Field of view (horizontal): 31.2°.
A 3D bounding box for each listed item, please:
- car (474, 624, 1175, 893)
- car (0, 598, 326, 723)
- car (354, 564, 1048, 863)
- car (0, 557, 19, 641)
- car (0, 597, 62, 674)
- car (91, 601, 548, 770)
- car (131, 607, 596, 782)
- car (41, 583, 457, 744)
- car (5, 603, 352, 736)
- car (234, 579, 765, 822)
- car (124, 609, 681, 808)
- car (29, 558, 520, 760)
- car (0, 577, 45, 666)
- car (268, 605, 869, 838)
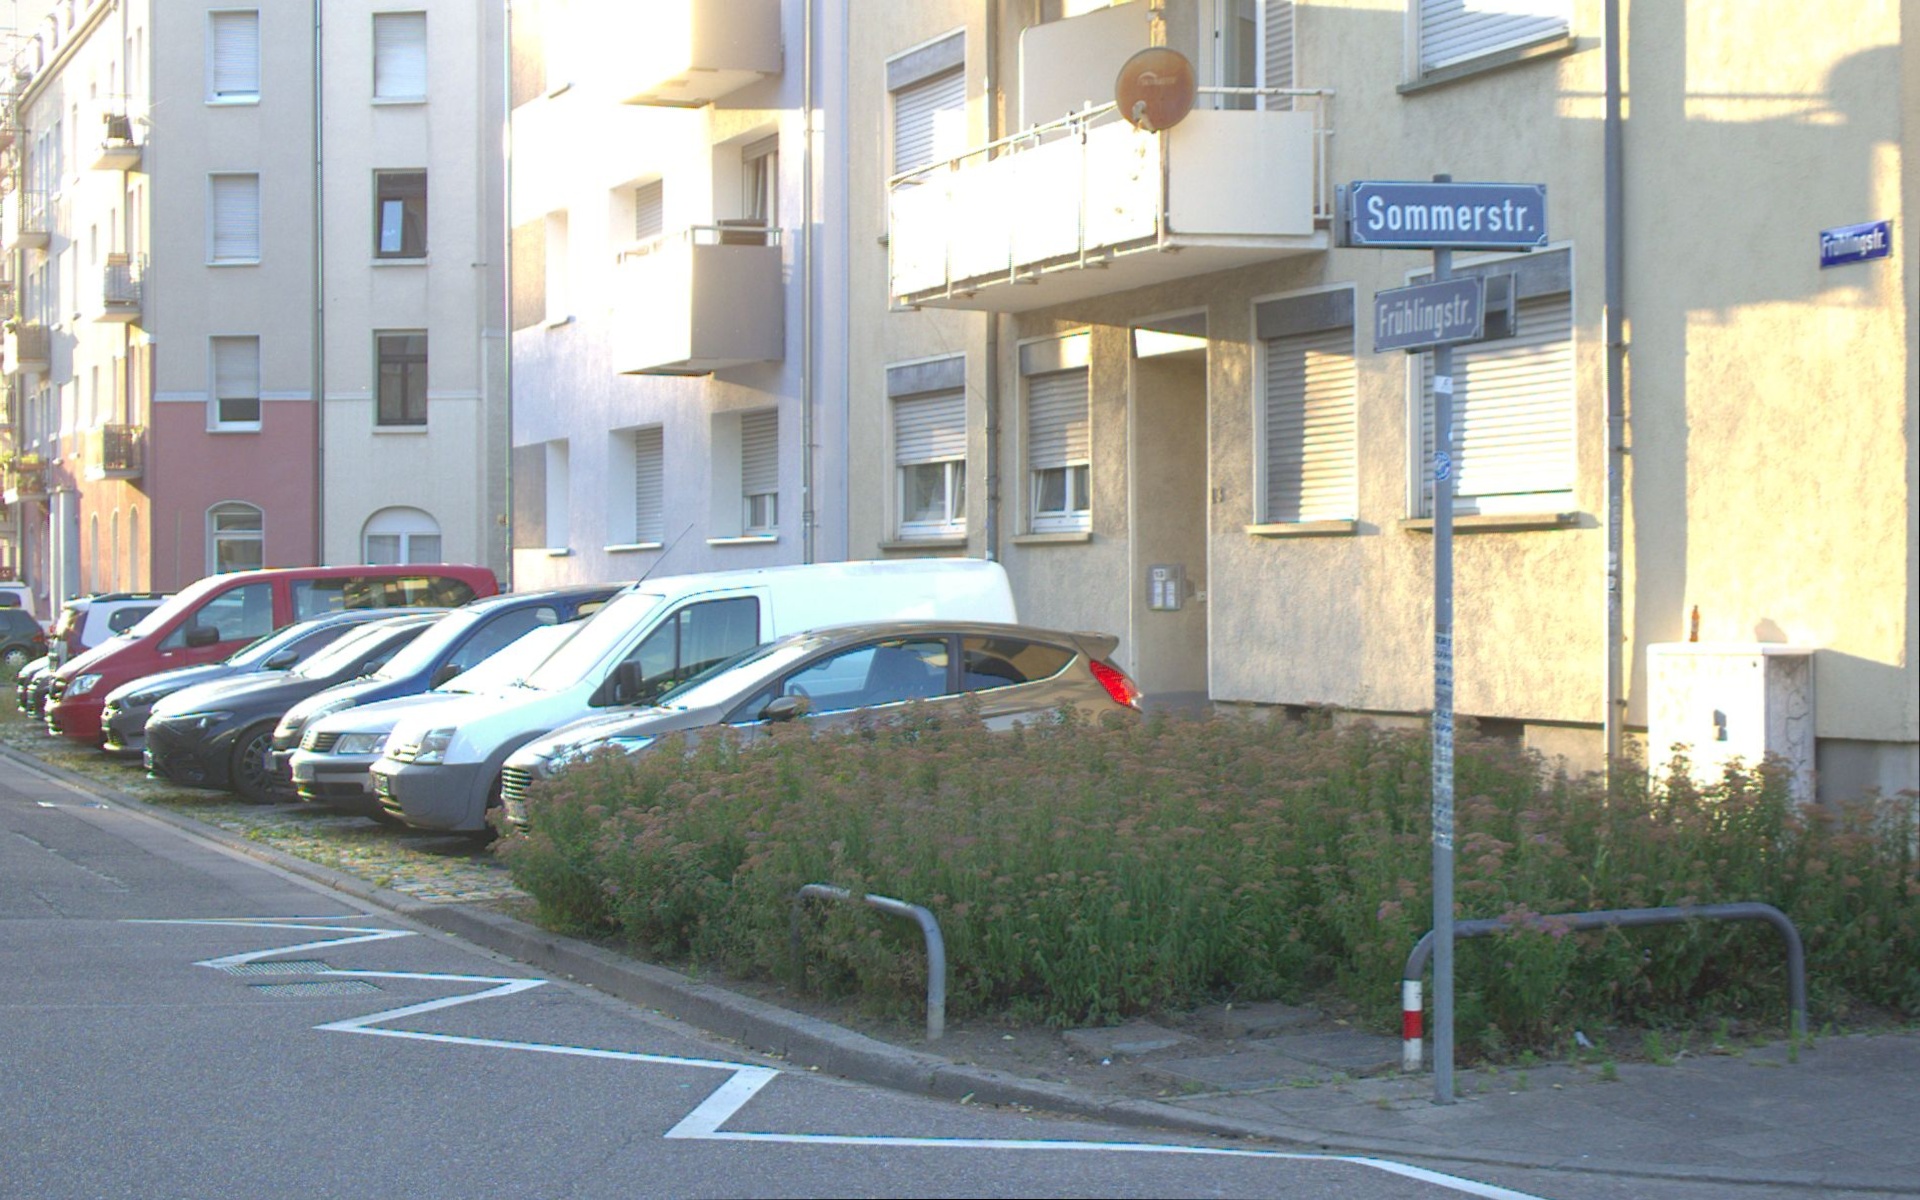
[{"bbox_3d":[-0.832,0.899,20.750,3.871,1.487,1.742,0,0,-21],"label":"car"},{"bbox_3d":[-10.139,0.751,43.681,3.811,1.423,1.635,-2,0,-22],"label":"car"},{"bbox_3d":[-1.728,0.712,22.864,4.278,1.854,1.742,0,-1,-21],"label":"car"},{"bbox_3d":[-24.787,-0.024,82.517,3.986,2.007,2.000,0,0,-25],"label":"car"},{"bbox_3d":[-20.465,0.746,70.034,3.986,1.525,1.659,-1,0,-22],"label":"car"},{"bbox_3d":[-6.312,0.815,33.860,4.144,1.466,1.637,-2,0,-22],"label":"car"},{"bbox_3d":[-5.450,0.832,31.397,3.874,1.411,1.636,-2,0,-23],"label":"car"},{"bbox_3d":[-8.058,0.697,38.957,4.323,1.632,1.818,-2,0,-22],"label":"car"},{"bbox_3d":[-9.384,0.812,41.271,3.811,1.423,1.635,-2,0,-22],"label":"car"},{"bbox_3d":[-3.605,0.749,26.861,3.790,1.690,1.655,-2,0,-21],"label":"car"},{"bbox_3d":[-4.666,0.873,28.768,4.307,1.445,1.655,-2,0,-21],"label":"car"},{"bbox_3d":[-7.235,0.592,36.241,4.721,1.903,2.059,-2,0,-22],"label":"car"},{"bbox_3d":[-22.994,0.516,76.652,4.812,1.961,1.739,-1,0,-22],"label":"car"},{"bbox_3d":[-2.805,0.817,24.585,3.954,1.517,1.706,-1,0,-21],"label":"car"}]
